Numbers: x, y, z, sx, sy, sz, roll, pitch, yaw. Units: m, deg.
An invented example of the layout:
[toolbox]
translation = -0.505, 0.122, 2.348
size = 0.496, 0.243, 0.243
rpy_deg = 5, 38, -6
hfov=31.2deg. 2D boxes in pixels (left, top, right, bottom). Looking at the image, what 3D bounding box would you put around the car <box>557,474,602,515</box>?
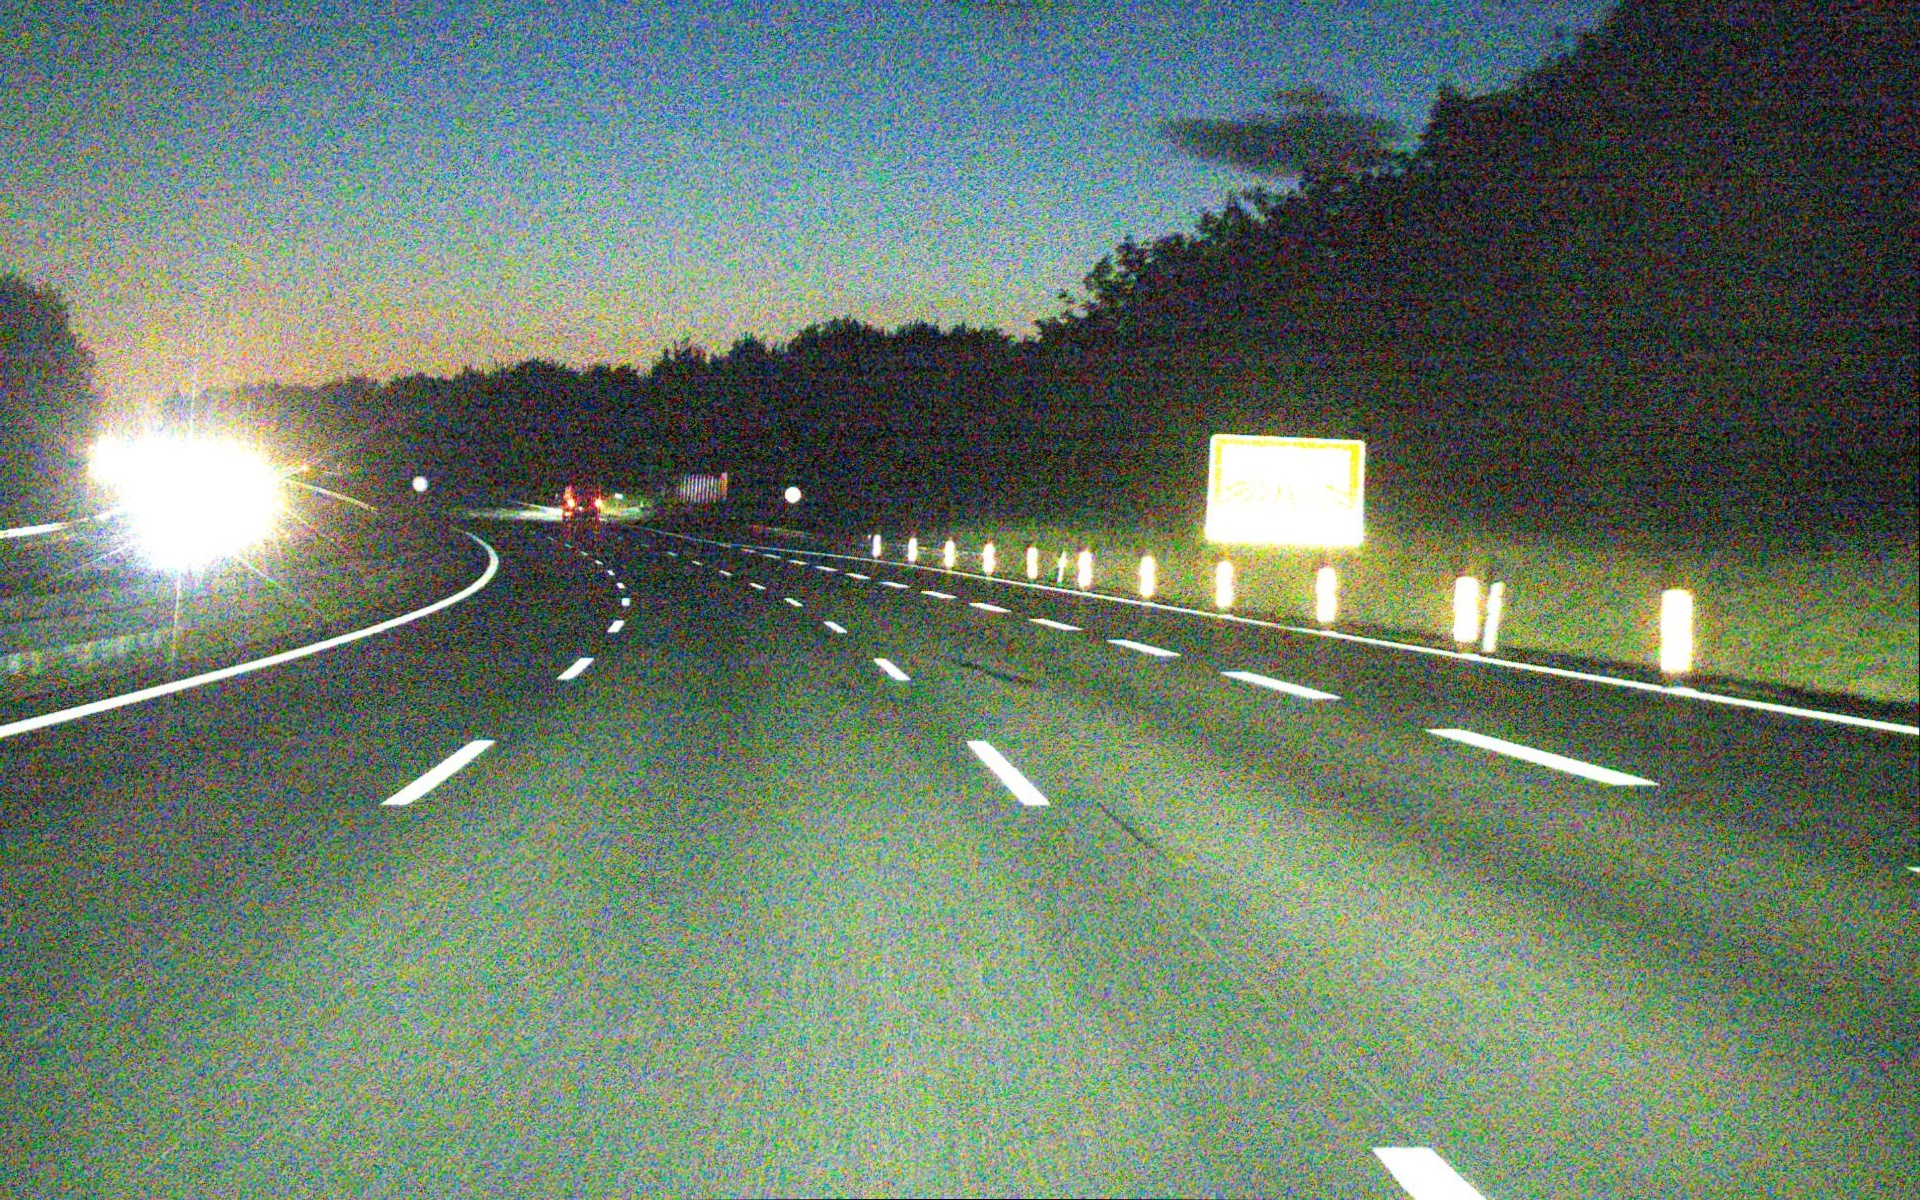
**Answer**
[car]
translation = -25.477, -7.079, 230.080
size = 2.527, 2.544, 6.053
rpy_deg = 2, 2, -10
